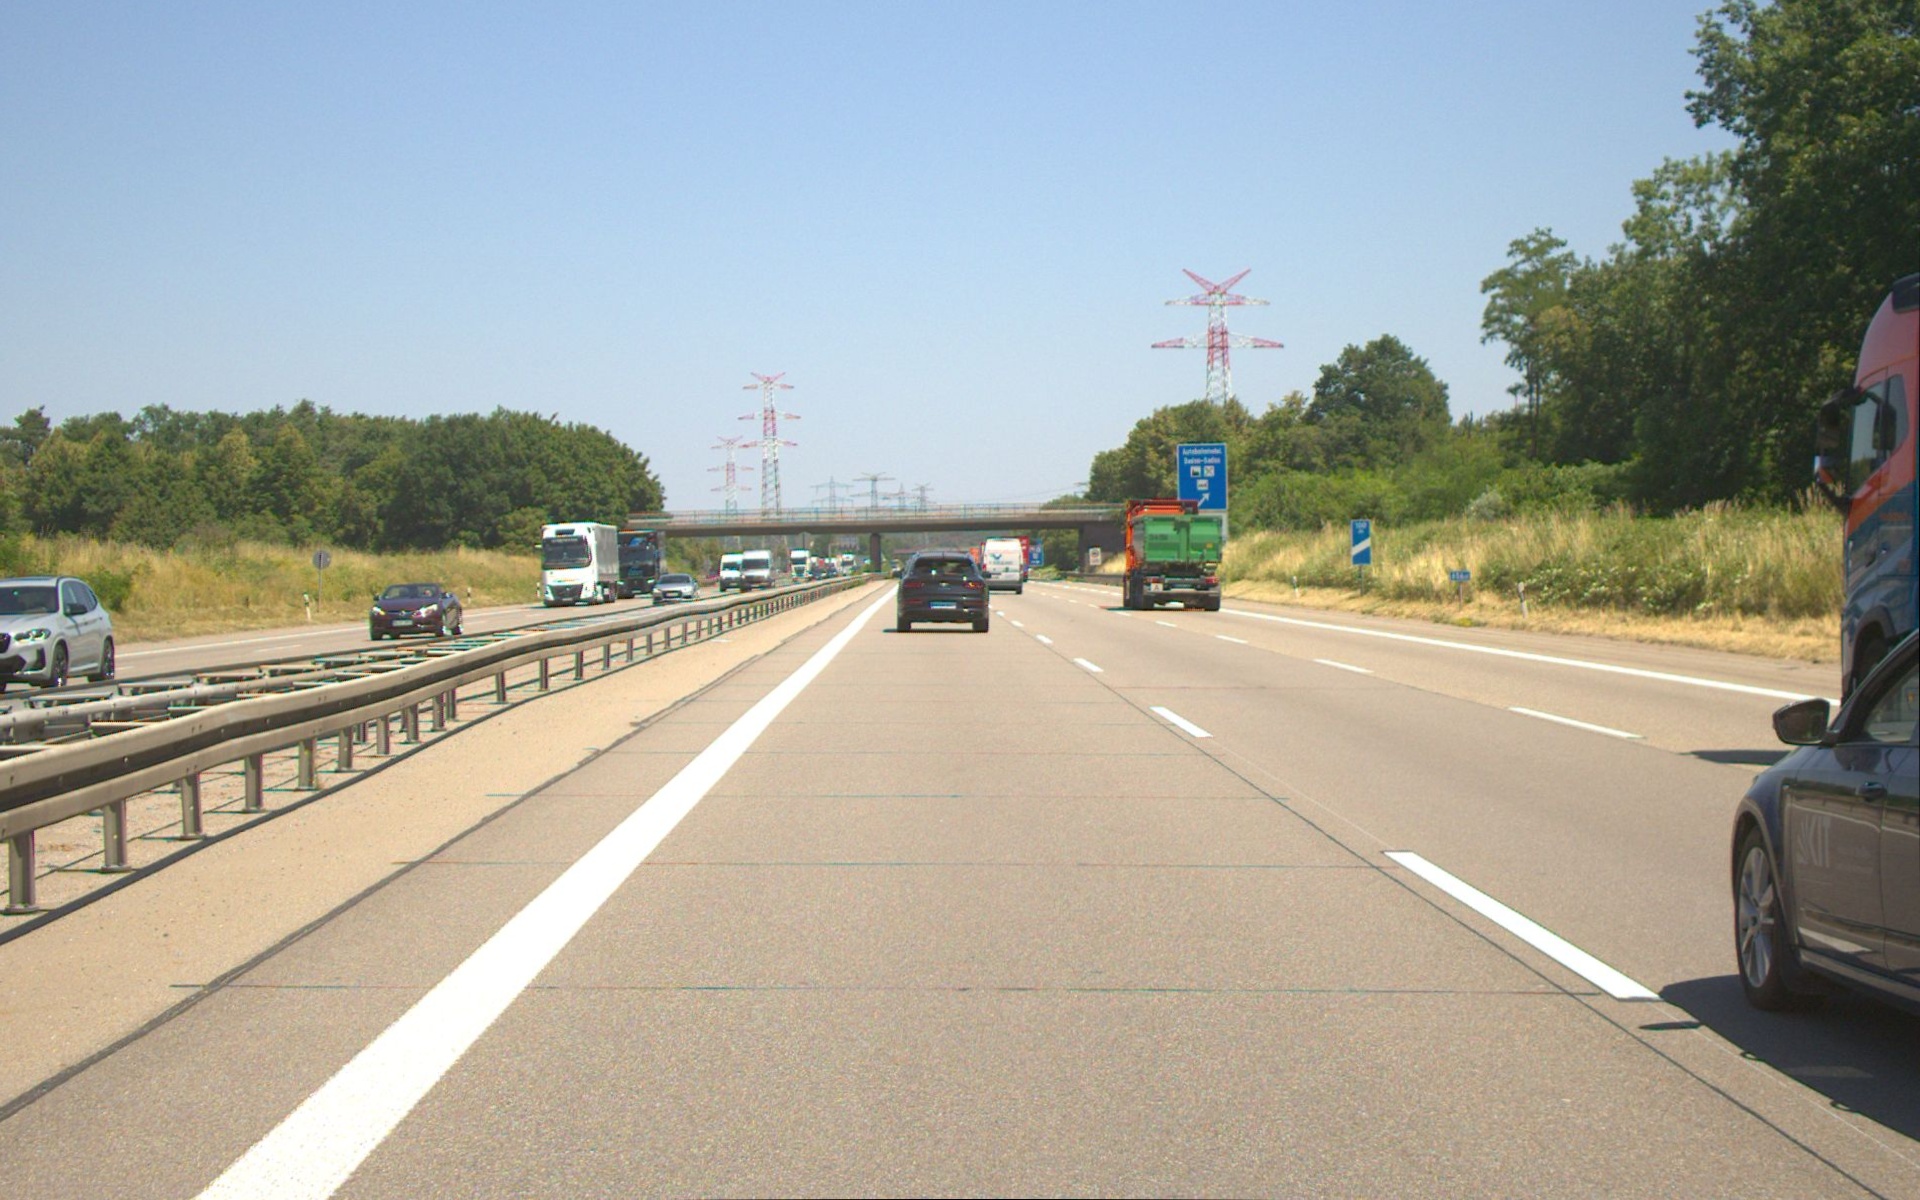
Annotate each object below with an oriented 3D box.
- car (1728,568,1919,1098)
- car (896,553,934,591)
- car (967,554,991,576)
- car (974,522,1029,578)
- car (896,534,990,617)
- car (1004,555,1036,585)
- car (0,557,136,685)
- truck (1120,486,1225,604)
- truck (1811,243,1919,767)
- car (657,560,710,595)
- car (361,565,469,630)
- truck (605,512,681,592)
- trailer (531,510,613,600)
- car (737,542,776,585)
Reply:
[{"bbox_3d":[3.598,0.667,9.711,1.801,1.478,4.272,1,1,-1],"label":"car"},{"bbox_3d":[-2.168,-1.346,164.613,1.794,1.744,4.000,1,1,-1],"label":"car"},{"bbox_3d":[1.447,-2.654,258.765,1.747,1.628,4.004,1,1,0],"label":"car"},{"bbox_3d":[2.082,-2.537,174.820,2.621,2.750,6.096,1,1,0],"label":"car"},{"bbox_3d":[-0.396,-0.553,75.445,1.993,1.744,4.000,1,1,-1],"label":"car"},{"bbox_3d":[3.594,-1.802,206.154,1.794,1.744,4.000,1,1,-1],"label":"car"},{"bbox_3d":[-13.397,0.270,49.250,1.962,1.712,5.291,-2,1,-1],"label":"car"},{"bbox_3d":[7.183,-1.873,117.585,2.681,3.785,12.479,1,1,0],"label":"truck"},{"bbox_3d":[8.076,-0.662,24.231,2.529,3.721,6.099,1,1,-1],"label":"truck"},{"bbox_3d":[-12.189,-1.019,151.715,1.962,1.424,5.291,-2,1,-1],"label":"car"},{"bbox_3d":[-13.843,-0.100,87.568,1.962,1.520,5.291,-2,1,-1],"label":"car"},{"bbox_3d":[-19.422,-2.927,211.498,3.377,4.609,12.187,-3,1,0],"label":"truck"},{"bbox_3d":[-19.027,-2.226,168.853,3.155,4.184,6.326,-3,1,0],"label":"trailer"},{"bbox_3d":[-12.704,-2.294,214.686,1.993,2.561,6.390,-3,1,0],"label":"car"}]
